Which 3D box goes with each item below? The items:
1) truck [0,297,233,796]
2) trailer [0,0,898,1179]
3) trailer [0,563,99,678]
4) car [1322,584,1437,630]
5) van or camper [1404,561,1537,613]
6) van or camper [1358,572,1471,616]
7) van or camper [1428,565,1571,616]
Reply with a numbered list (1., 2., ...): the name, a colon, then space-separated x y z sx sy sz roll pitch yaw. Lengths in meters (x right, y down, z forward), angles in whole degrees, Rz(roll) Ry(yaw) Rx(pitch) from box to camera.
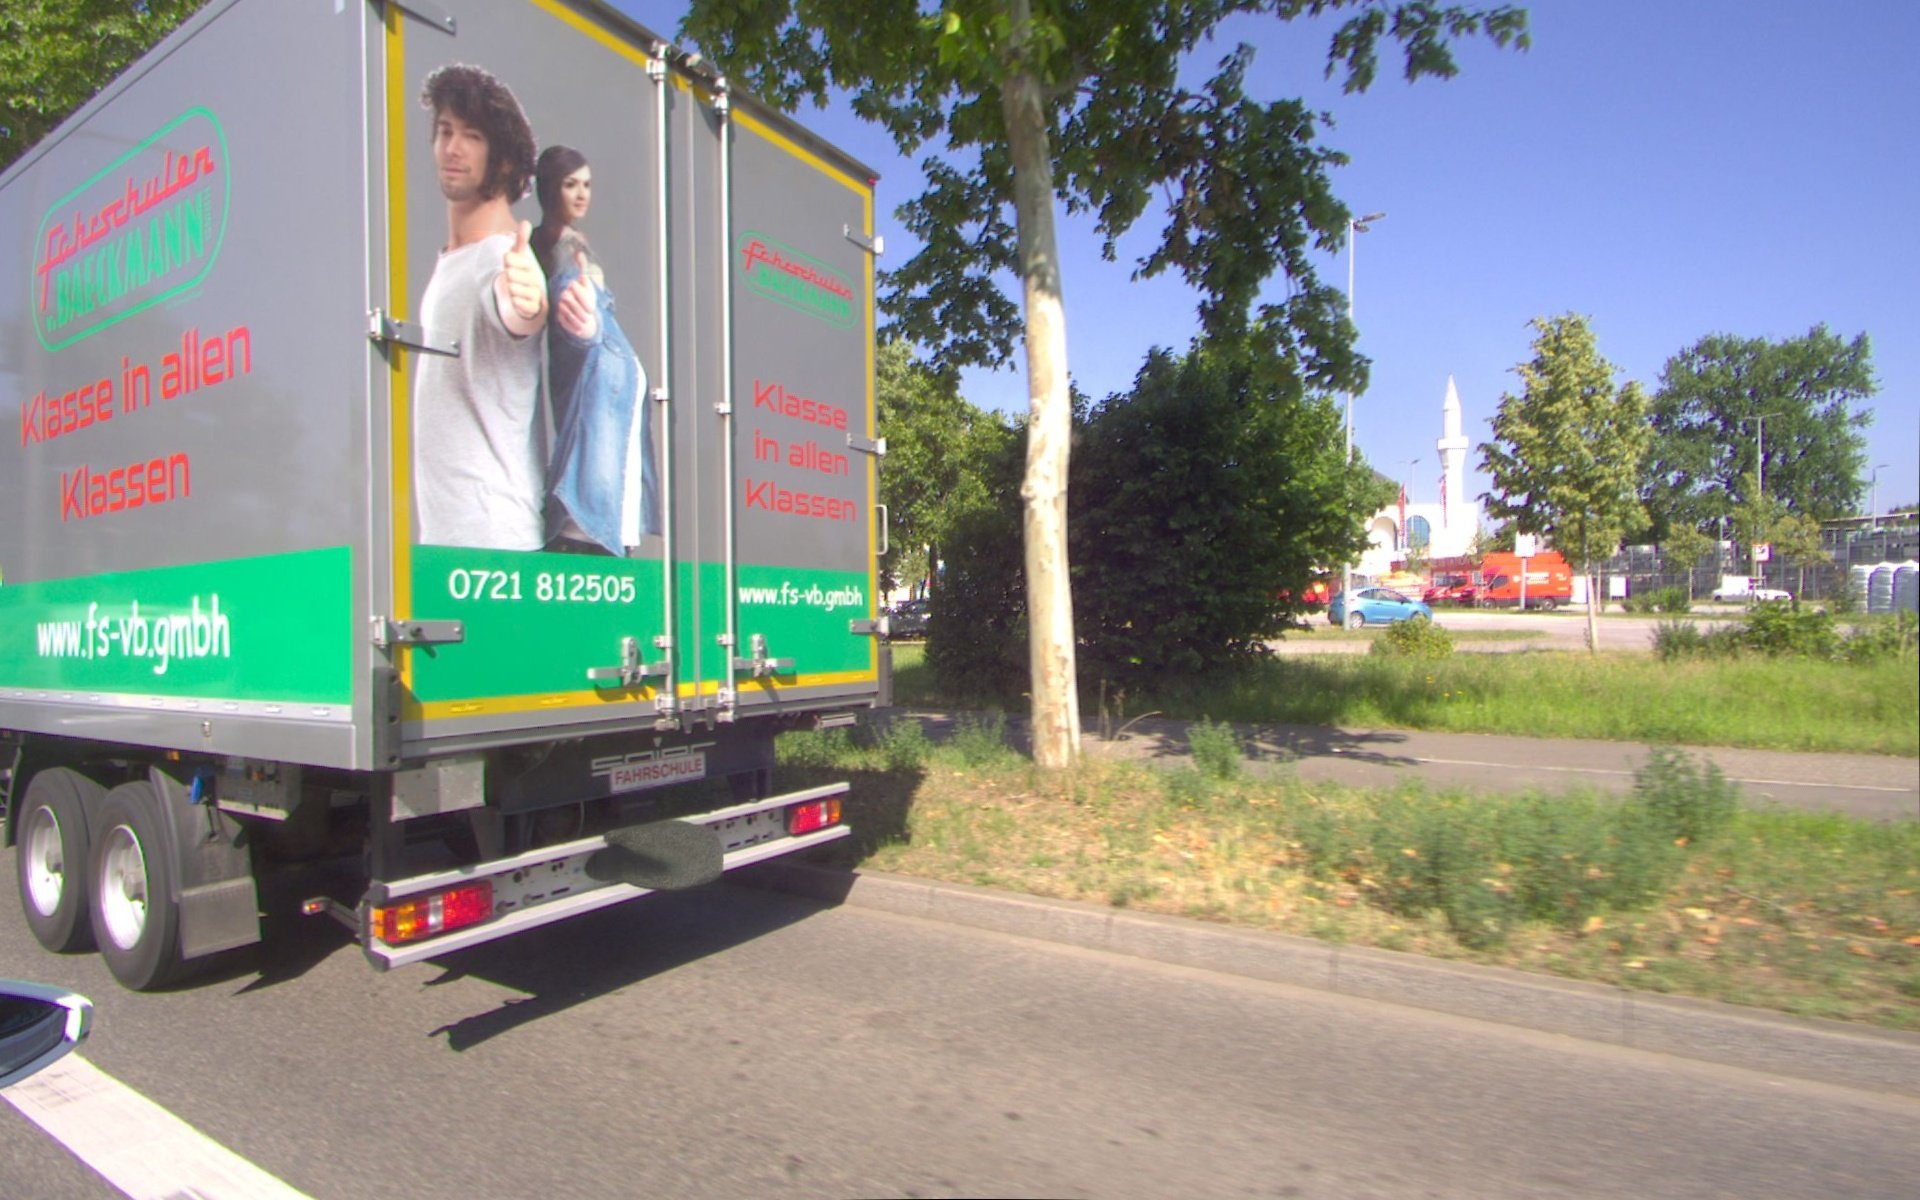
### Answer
1. truck: -11.005 -0.289 10.490 8.605 3.940 2.722 -2 -1 34
2. trailer: -4.256 -0.347 5.859 7.630 3.927 2.729 -2 -1 34
3. trailer: -31.924 0.631 31.093 2.858 3.668 12.671 0 -2 -16
4. car: 14.906 0.271 35.650 3.419 1.552 1.544 -1 -2 0
5. van or camper: 31.173 -0.764 61.267 7.146 2.979 2.001 -1 -2 -2
6. van or camper: 32.064 -0.392 70.761 7.146 2.979 2.001 -1 -2 -2
7. van or camper: 30.937 -0.525 57.514 7.146 2.739 2.001 -1 -2 -2
